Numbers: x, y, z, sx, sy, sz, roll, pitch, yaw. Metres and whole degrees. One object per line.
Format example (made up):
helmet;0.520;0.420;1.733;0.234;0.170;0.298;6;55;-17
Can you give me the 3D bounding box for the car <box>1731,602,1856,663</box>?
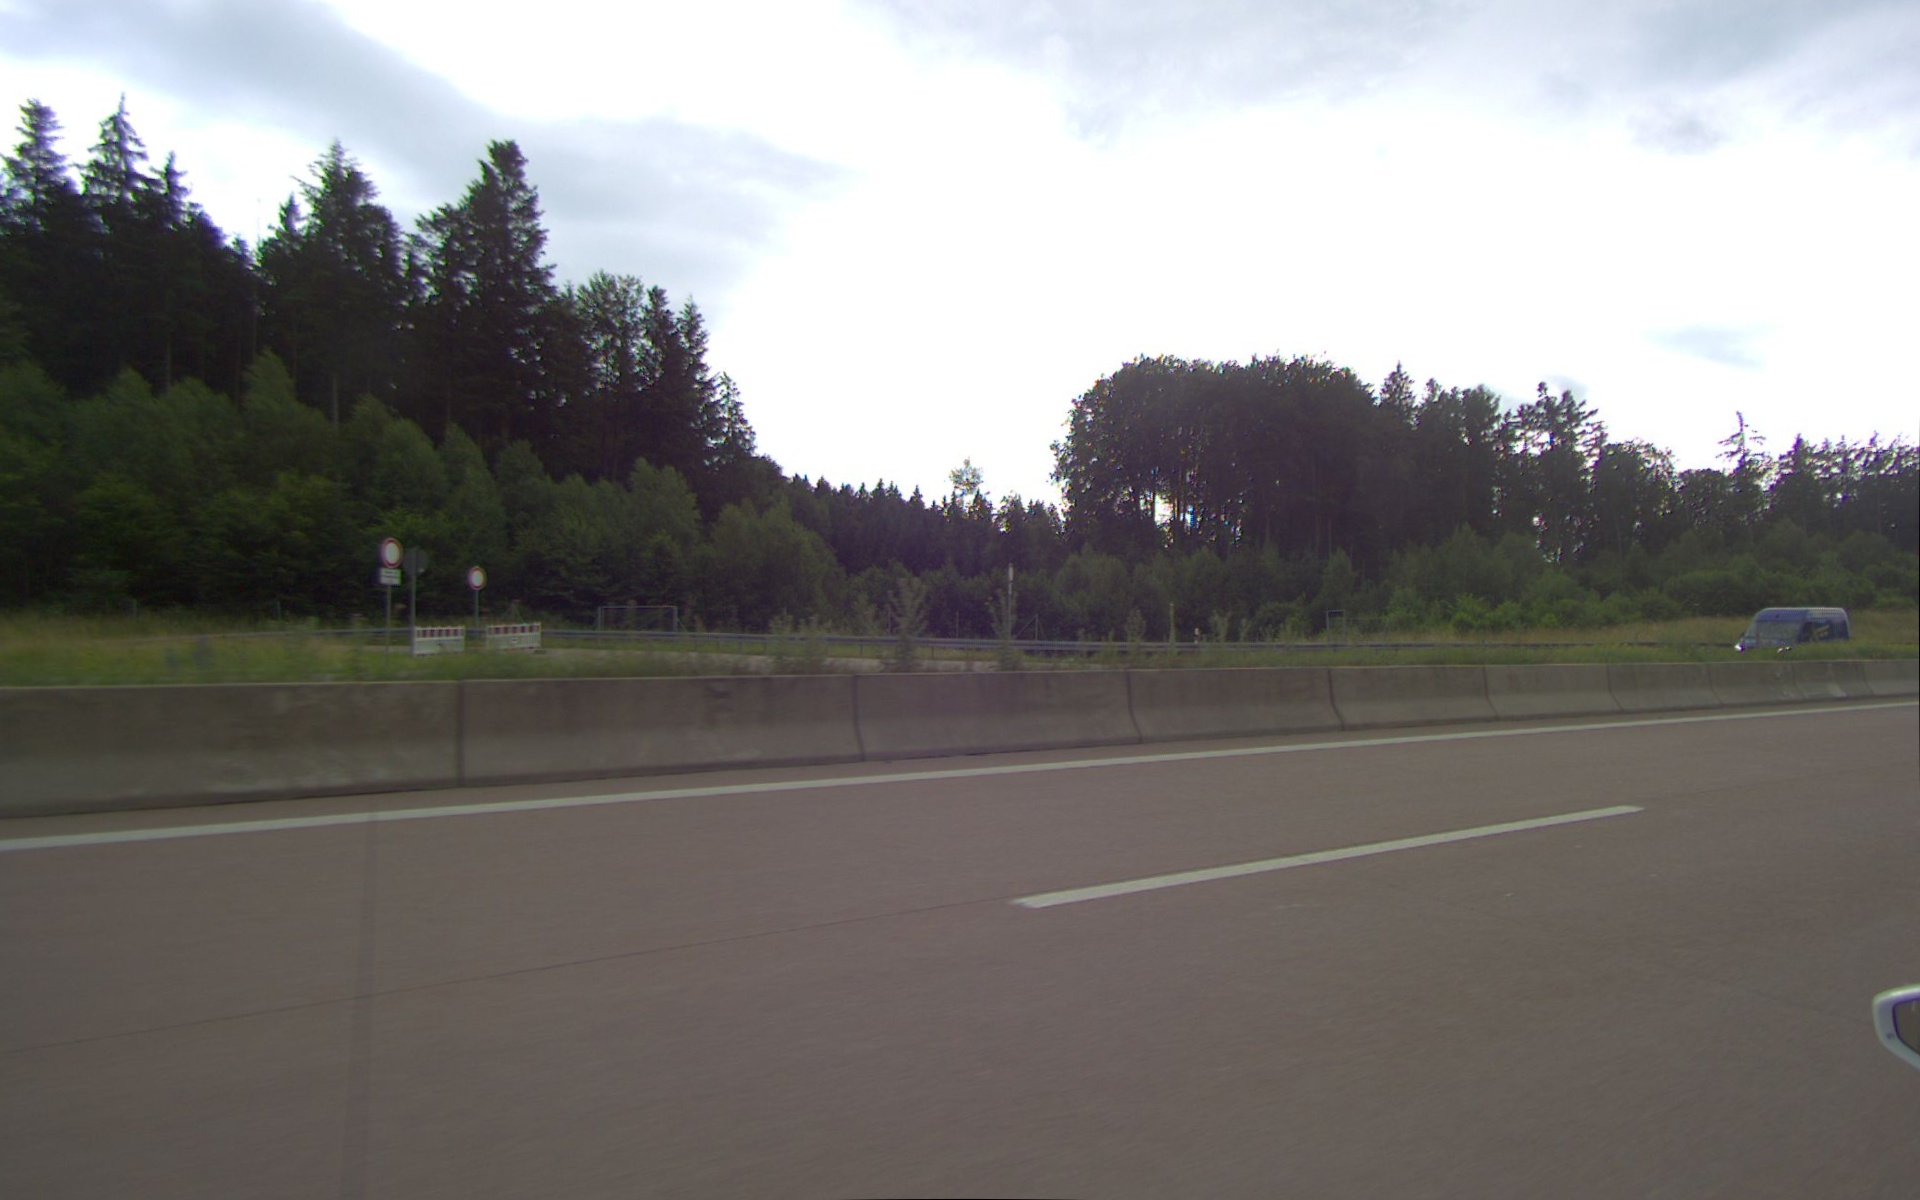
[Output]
car;33.658;1.283;40.507;5.971;2.272;1.983;1;0;-31
